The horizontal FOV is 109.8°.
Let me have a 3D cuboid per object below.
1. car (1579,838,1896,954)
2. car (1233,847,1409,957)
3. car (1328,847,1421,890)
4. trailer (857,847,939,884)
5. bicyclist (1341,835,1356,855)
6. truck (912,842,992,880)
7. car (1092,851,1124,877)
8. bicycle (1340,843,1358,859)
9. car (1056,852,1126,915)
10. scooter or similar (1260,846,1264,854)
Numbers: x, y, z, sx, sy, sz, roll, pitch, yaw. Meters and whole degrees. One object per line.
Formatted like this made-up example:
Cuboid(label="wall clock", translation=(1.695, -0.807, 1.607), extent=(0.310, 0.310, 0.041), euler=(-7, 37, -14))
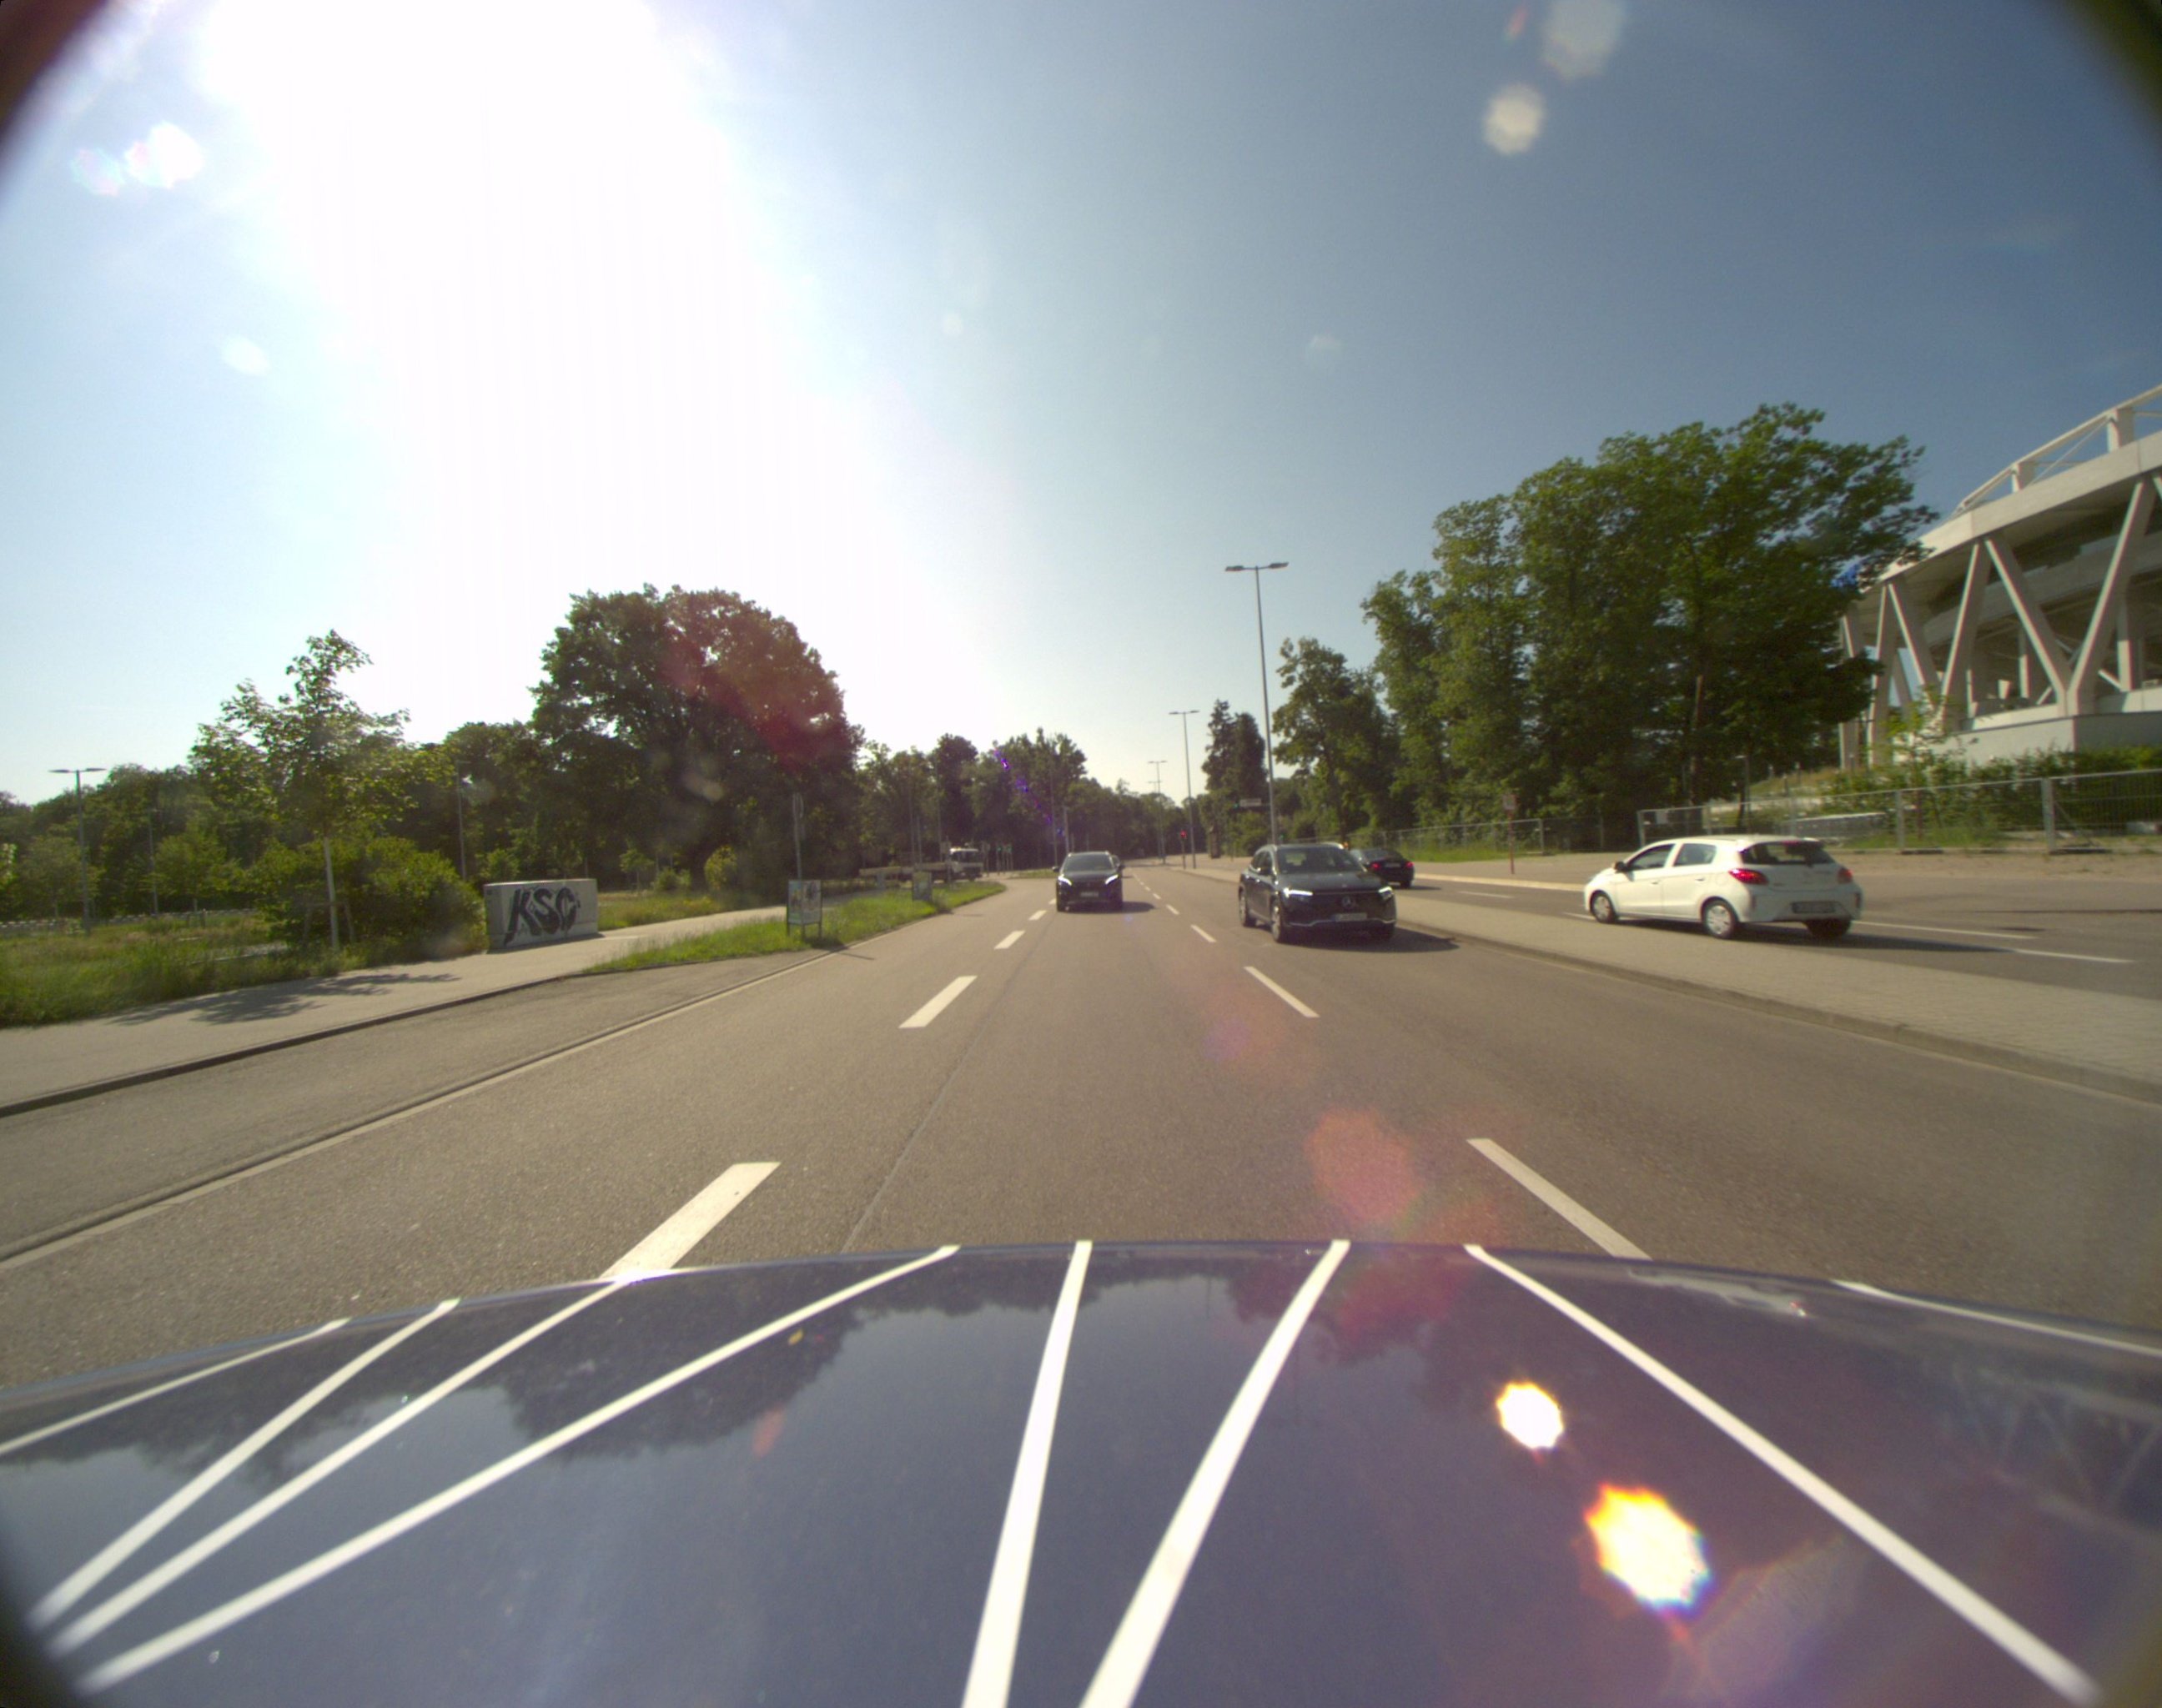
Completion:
Cuboid(label="car", translation=(9.713, 0.534, 11.703), extent=(1.627, 1.458, 3.800), euler=(-1, 0, 1))
Cuboid(label="car", translation=(3.971, 0.704, 13.342), extent=(1.809, 1.587, 4.273), euler=(-1, 0, 1))
Cuboid(label="car", translation=(10.421, 0.464, 27.307), extent=(1.815, 1.380, 4.162), euler=(-1, 0, 1))
Cuboid(label="trailer", translation=(-15.561, 0.997, 64.454), extent=(6.871, 2.672, 2.708), euler=(-3, 1, 35))
Cuboid(label="bicyclist", translation=(19.721, -0.655, 55.963), extent=(0.661, 1.459, 1.057), euler=(-5, 0, 1))
Cuboid(label="truck", translation=(-10.344, 0.595, 60.691), extent=(6.187, 2.702, 2.685), euler=(-3, 1, 38))
Cuboid(label="car", translation=(1.769, 0.631, 49.937), extent=(1.932, 1.499, 4.001), euler=(-3, 0, 3))
Cuboid(label="bicycle", translation=(19.763, -0.238, 56.094), extent=(0.661, 1.129, 1.878), euler=(-5, 0, 1))
Cuboid(label="car", translation=(0.387, 0.776, 22.259), extent=(1.702, 1.581, 4.320), euler=(-3, 0, 4))
Cuboid(label="scooter or similar", translation=(25.401, -0.538, 106.842), extent=(0.395, 1.139, 1.197), euler=(-3, 0, 9))
